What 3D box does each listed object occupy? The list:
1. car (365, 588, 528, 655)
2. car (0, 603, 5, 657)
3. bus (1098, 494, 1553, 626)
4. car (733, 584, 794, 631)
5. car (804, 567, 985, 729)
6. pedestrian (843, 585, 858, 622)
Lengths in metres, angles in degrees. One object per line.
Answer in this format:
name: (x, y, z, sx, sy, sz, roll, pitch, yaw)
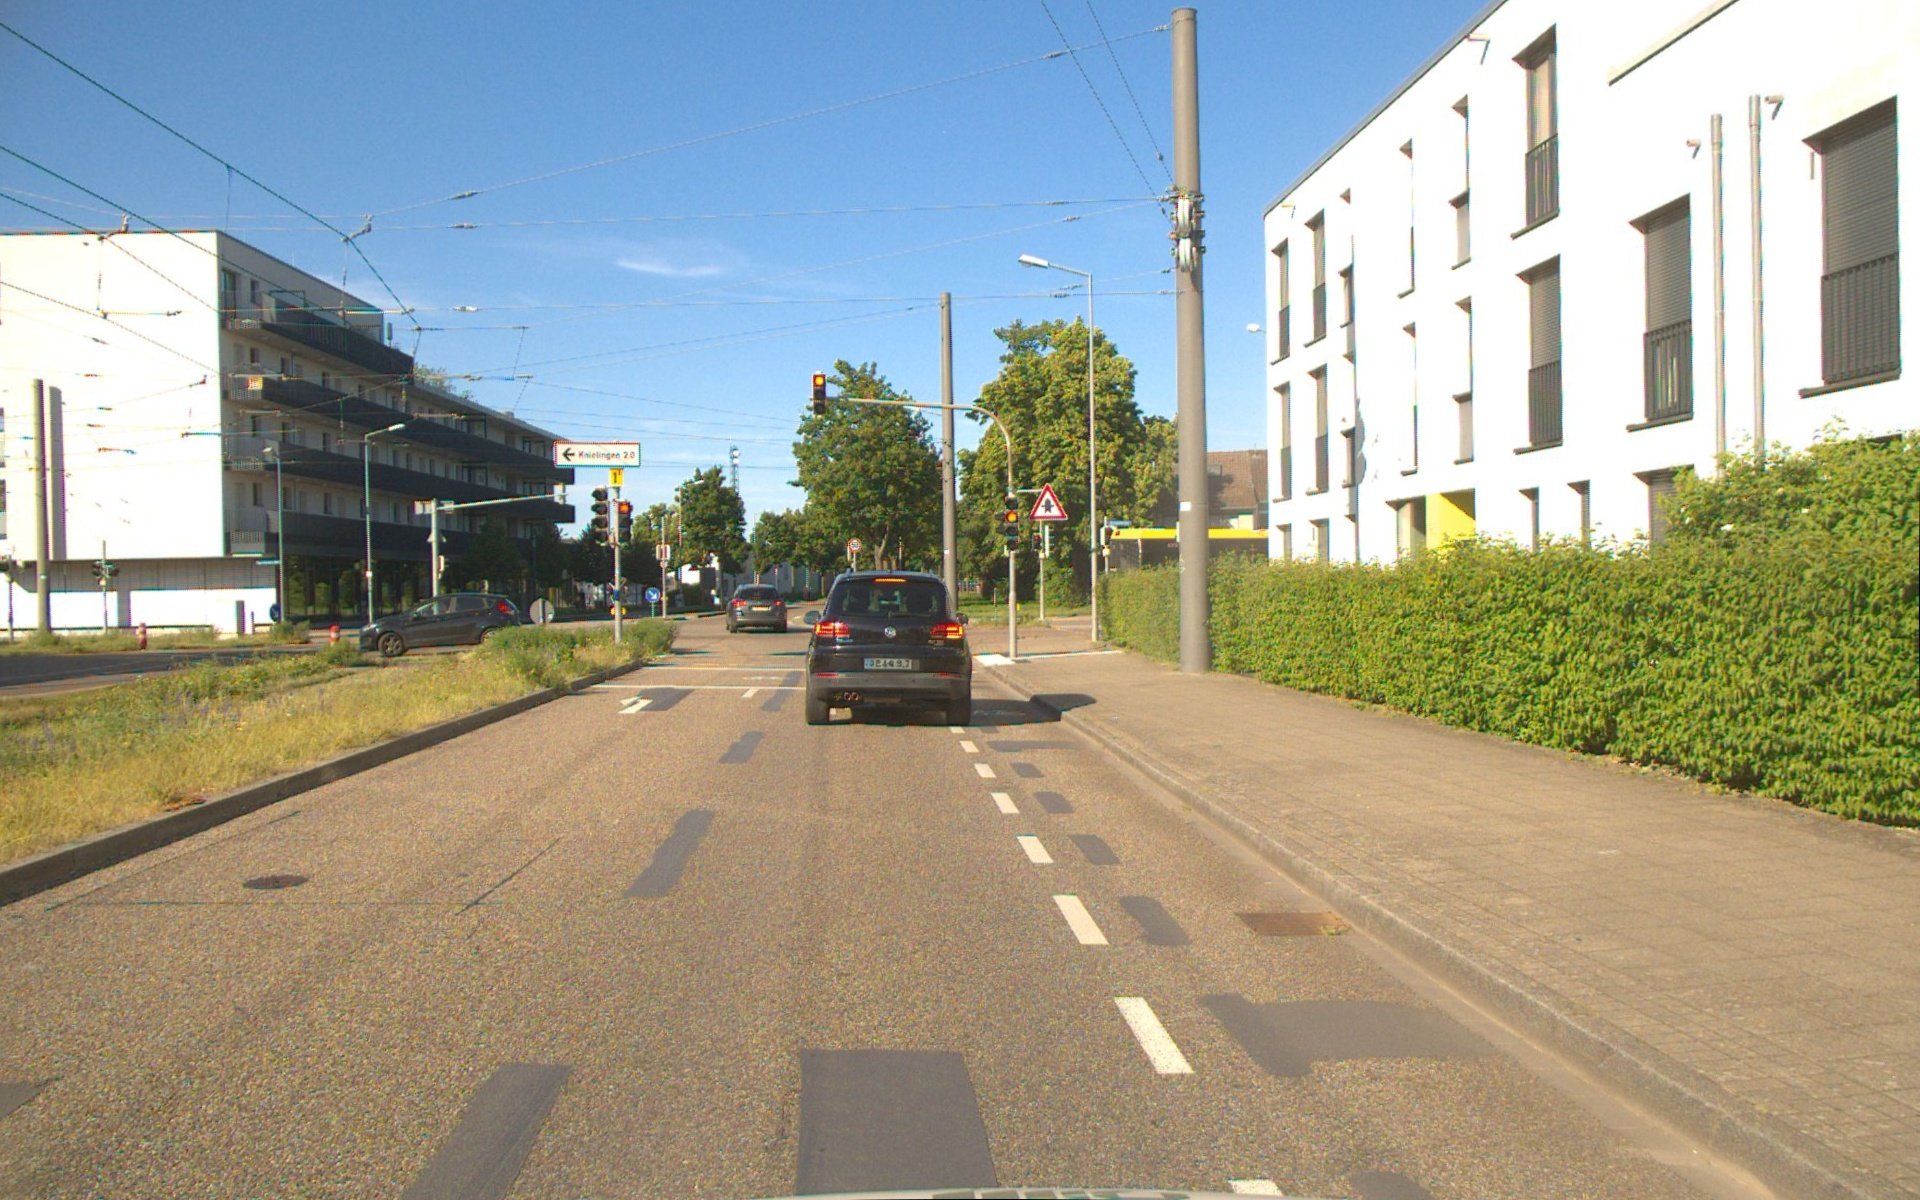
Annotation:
car: (-12.864, 0.518, 41.598, 3.662, 1.455, 1.704, -3, 1, -11)
car: (-38.185, 1.196, 61.721, 3.920, 2.049, 1.992, -2, 1, -15)
bus: (11.381, -1.116, 50.825, 14.416, 3.735, 2.832, 0, 0, -20)
car: (-6.132, 0.211, 51.873, 1.716, 1.411, 3.997, 0, 1, -4)
car: (-0.819, 0.477, 19.150, 1.868, 1.671, 3.997, 0, 1, -4)
pedestrian: (-4.898, 0.156, 74.151, 0.590, 1.668, 0.529, 1, 0, 1)
